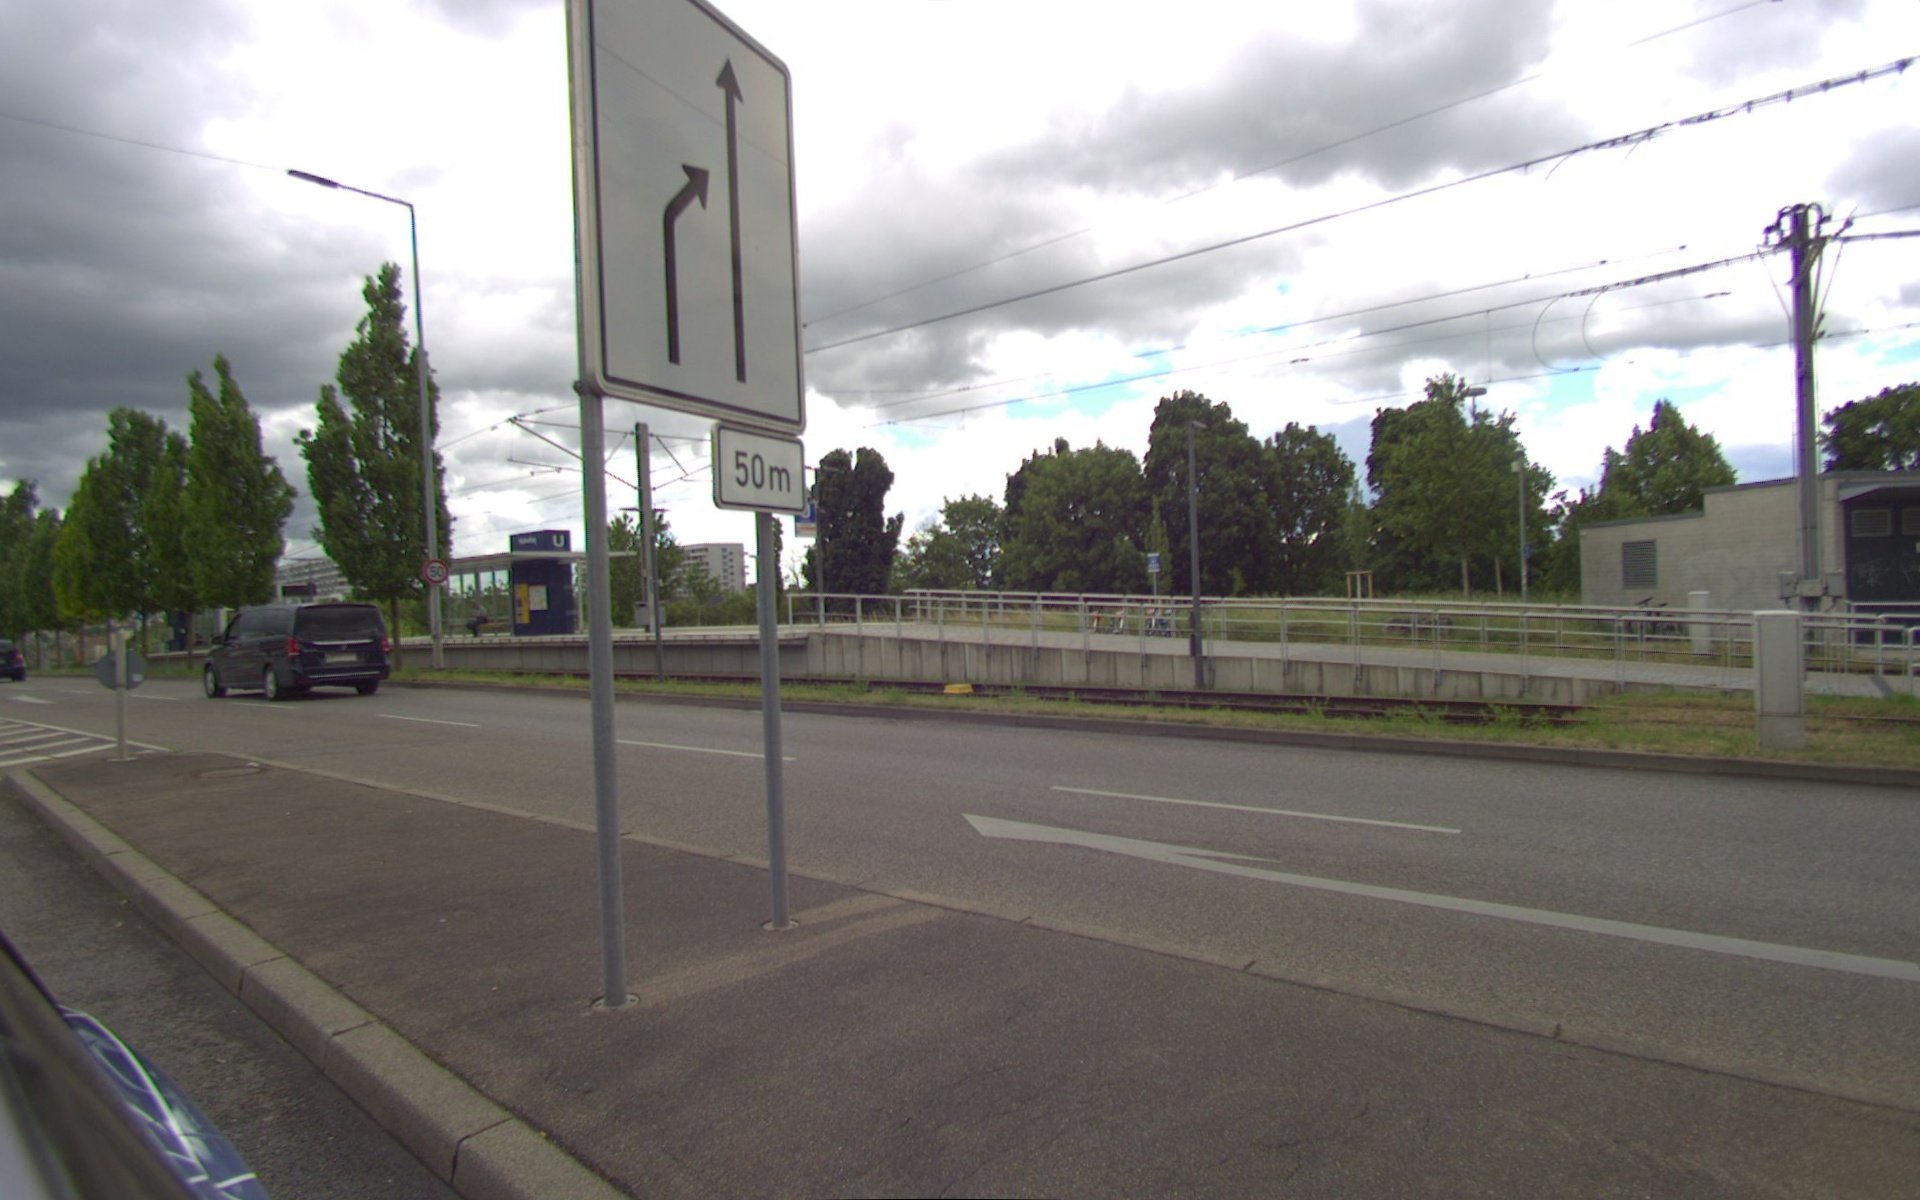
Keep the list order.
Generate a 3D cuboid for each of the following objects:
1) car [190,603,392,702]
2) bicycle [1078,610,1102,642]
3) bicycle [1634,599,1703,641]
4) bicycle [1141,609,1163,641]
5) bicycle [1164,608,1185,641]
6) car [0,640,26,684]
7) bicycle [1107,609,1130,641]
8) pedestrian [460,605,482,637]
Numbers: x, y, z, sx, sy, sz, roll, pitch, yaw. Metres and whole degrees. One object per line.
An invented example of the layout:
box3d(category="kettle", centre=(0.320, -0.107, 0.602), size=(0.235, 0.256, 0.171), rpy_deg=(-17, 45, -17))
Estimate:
box3d(category="car", centre=(-13.856, 1.049, 20.841), size=(5.083, 1.826, 1.870), rpy_deg=(-2, -2, 37))
box3d(category="bicycle", centre=(4.503, 0.887, 34.901), size=(0.531, 1.039, 1.804), rpy_deg=(-1, 0, 16))
box3d(category="bicycle", centre=(18.244, 0.502, 26.095), size=(0.529, 1.039, 1.813), rpy_deg=(-1, 0, 1))
box3d(category="bicycle", centre=(6.459, 0.821, 33.983), size=(0.531, 1.039, 1.804), rpy_deg=(-1, 0, 16))
box3d(category="bicycle", centre=(7.158, 0.806, 33.743), size=(0.531, 1.039, 1.804), rpy_deg=(-1, 0, 16))
box3d(category="car", centre=(-36.075, 2.292, 37.428), size=(3.655, 1.520, 1.719), rpy_deg=(-2, -1, 38))
box3d(category="bicycle", centre=(5.403, 0.839, 34.436), size=(0.531, 1.039, 1.804), rpy_deg=(-1, 0, 16))
box3d(category="pedestrian", centre=(-18.304, 0.783, 37.884), size=(0.447, 1.163, 0.593), rpy_deg=(-1, 0, 41))
